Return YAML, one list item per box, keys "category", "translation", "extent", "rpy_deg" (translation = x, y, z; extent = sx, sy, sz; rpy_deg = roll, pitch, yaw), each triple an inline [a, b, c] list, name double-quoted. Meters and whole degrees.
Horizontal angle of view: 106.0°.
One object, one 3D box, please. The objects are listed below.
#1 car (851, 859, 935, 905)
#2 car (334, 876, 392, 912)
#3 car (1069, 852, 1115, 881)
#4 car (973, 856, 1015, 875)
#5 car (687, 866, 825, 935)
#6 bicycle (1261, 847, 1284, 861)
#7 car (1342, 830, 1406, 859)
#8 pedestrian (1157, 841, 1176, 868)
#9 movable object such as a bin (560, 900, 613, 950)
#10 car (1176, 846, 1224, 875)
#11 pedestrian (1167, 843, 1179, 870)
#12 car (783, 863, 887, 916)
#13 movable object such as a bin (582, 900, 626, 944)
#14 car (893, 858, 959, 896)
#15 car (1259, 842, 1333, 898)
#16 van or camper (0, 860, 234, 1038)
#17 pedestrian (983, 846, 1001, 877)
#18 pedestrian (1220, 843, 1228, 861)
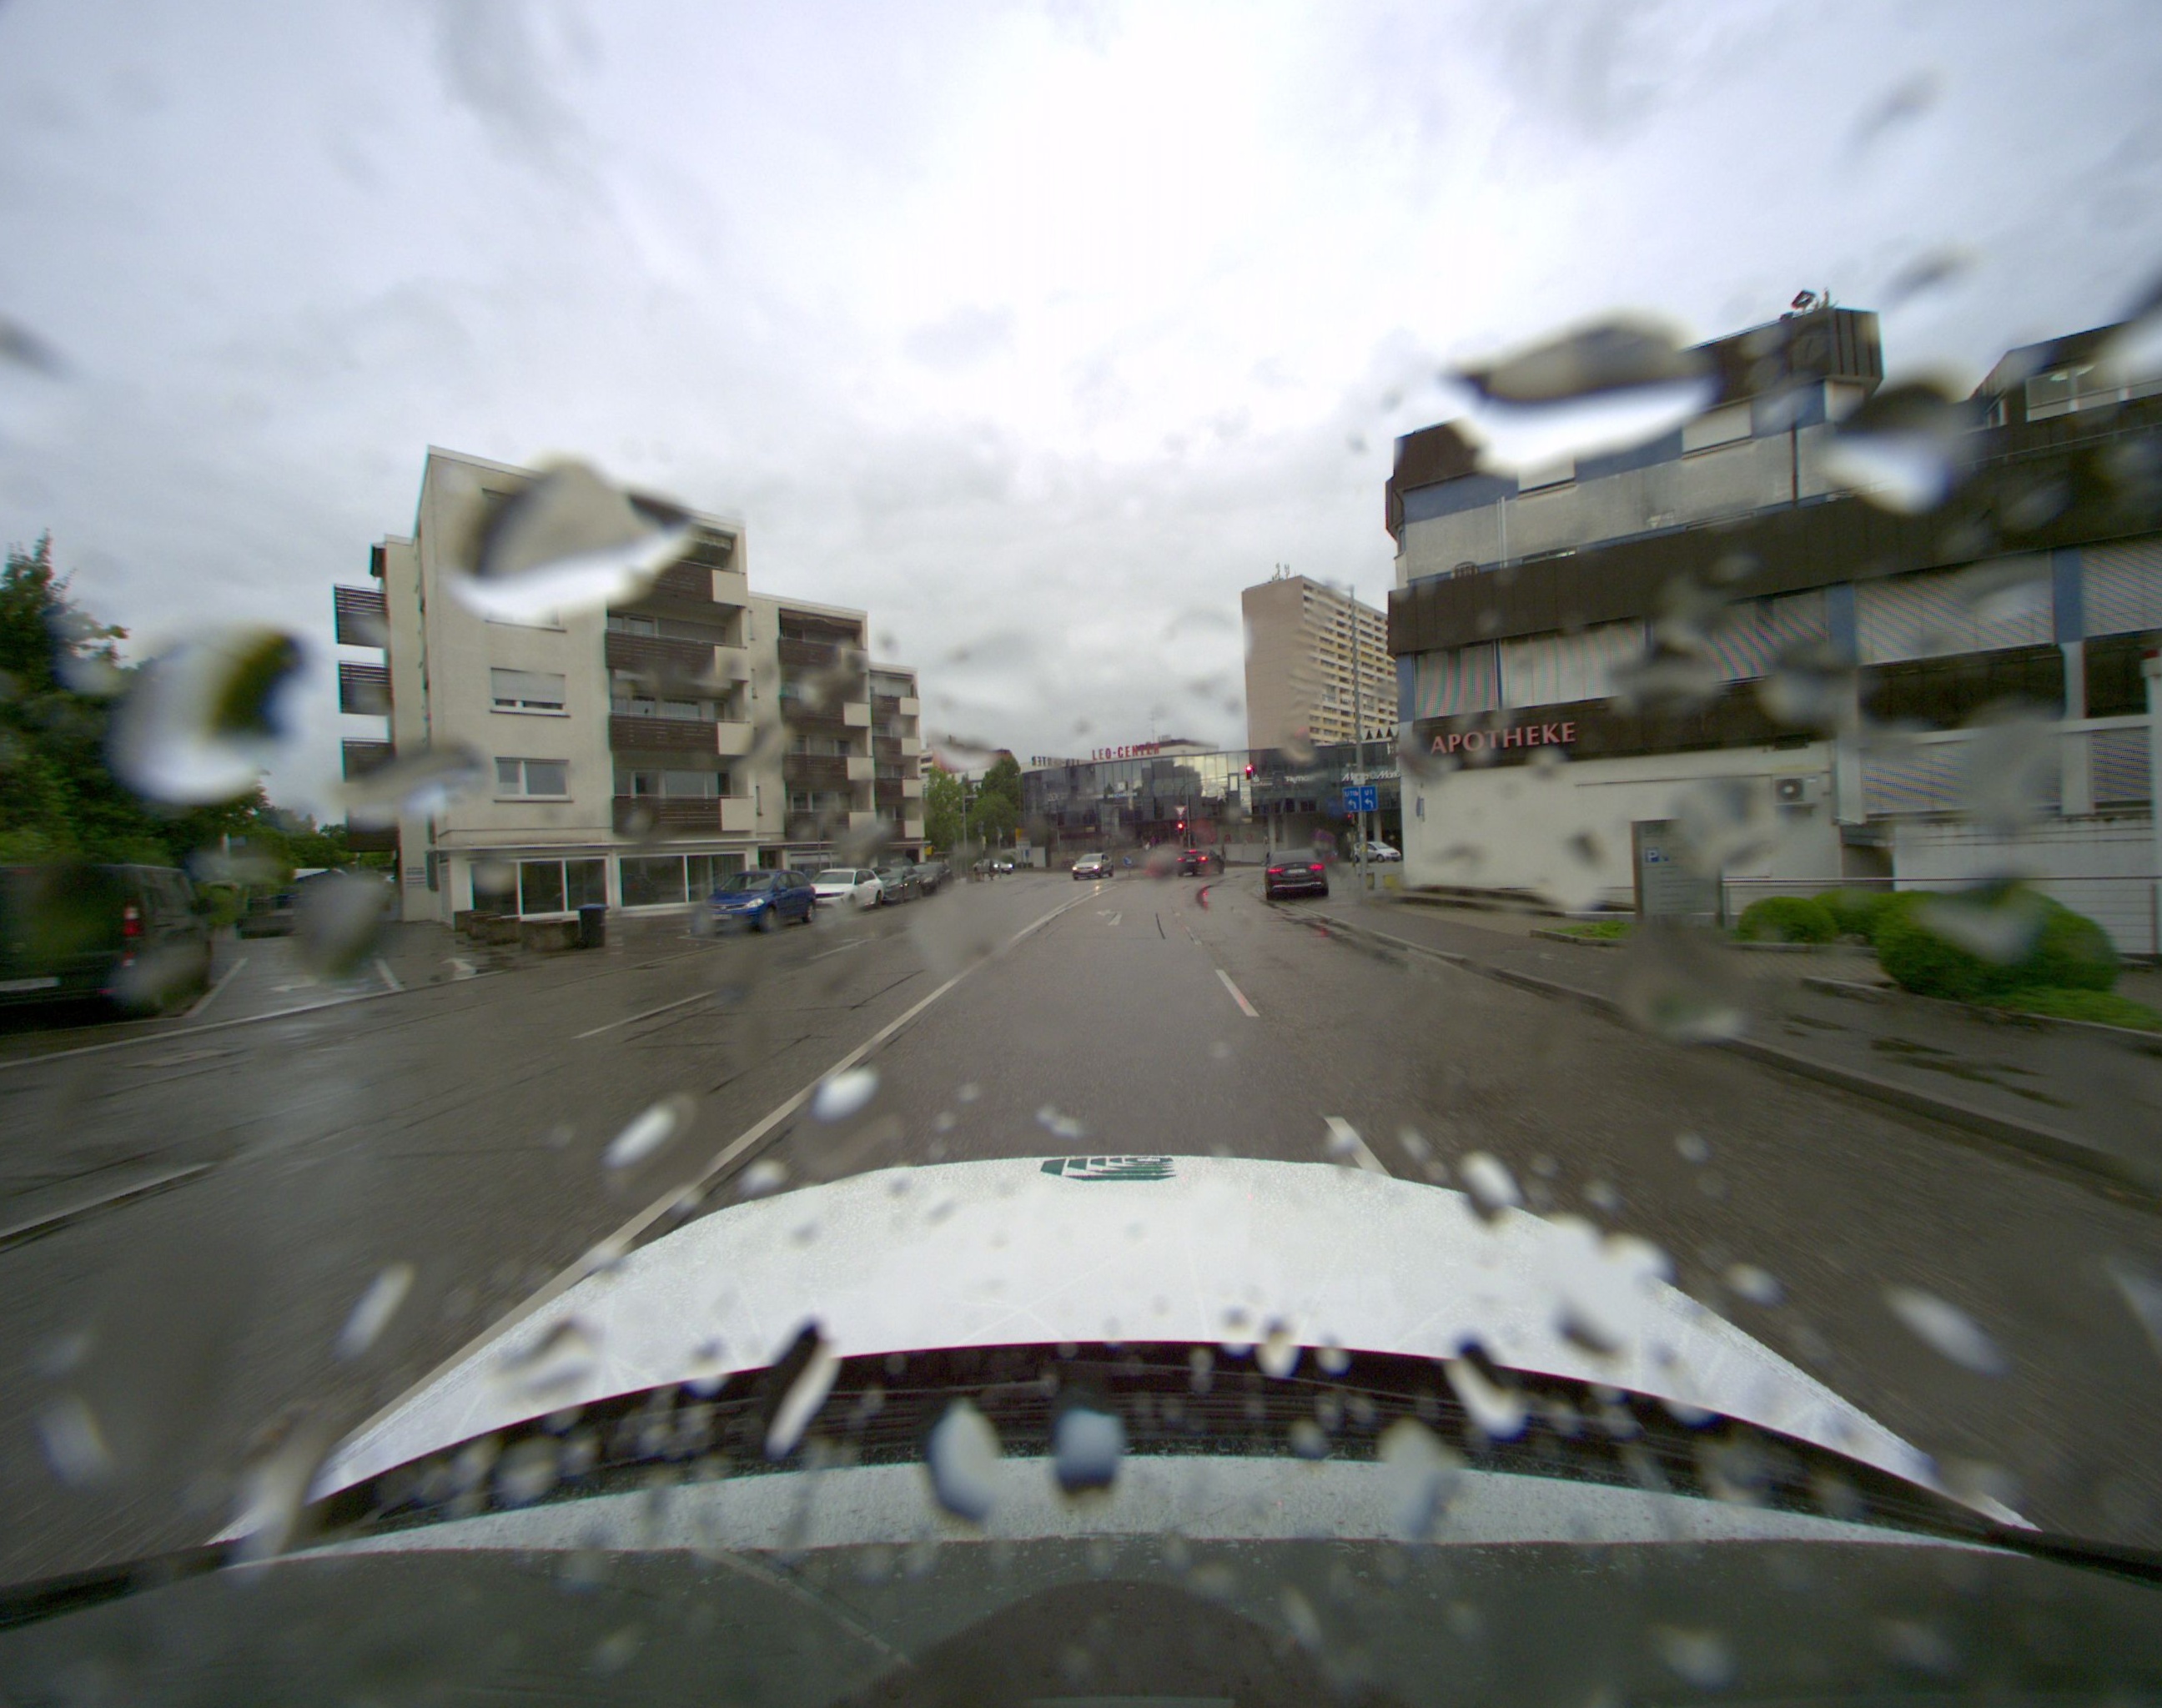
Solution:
- category: "car"
  translation: [-7.386, 1.055, 32.446]
  extent: [1.926, 1.541, 4.526]
  rpy_deg: [-2, 0, 4]
- category: "car"
  translation: [-44.587, 2.450, 50.570]
  extent: [3.948, 2.013, 2.013]
  rpy_deg: [-2, 0, 39]
- category: "car"
  translation: [0.705, 0.701, 48.568]
  extent: [1.812, 1.439, 3.856]
  rpy_deg: [-4, 1, 14]
- category: "car"
  translation: [-7.938, 1.011, 73.752]
  extent: [2.008, 1.511, 4.388]
  rpy_deg: [0, 2, -33]
- category: "car"
  translation: [-8.454, 1.145, 21.641]
  extent: [1.644, 1.521, 4.329]
  rpy_deg: [-2, 0, 4]
- category: "bicycle"
  translation: [21.568, -0.011, 91.626]
  extent: [2.414, 1.464, 0.656]
  rpy_deg: [-2, 2, 2]
- category: "car"
  translation: [21.888, -0.697, 60.933]
  extent: [2.010, 2.013, 3.953]
  rpy_deg: [-2, 0, -39]
- category: "pedestrian"
  translation: [5.406, 0.050, 51.735]
  extent: [0.913, 1.659, 0.749]
  rpy_deg: [1, 1, -24]
- category: "movable object such as a bin"
  translation: [-10.566, 1.512, 17.421]
  extent: [0.645, 0.966, 0.683]
  rpy_deg: [-3, 0, 4]
- category: "car"
  translation: [6.585, 0.333, 44.710]
  extent: [1.789, 1.419, 4.020]
  rpy_deg: [-3, 0, 20]
- category: "pedestrian"
  translation: [5.941, 0.158, 52.530]
  extent: [0.608, 1.659, 0.672]
  rpy_deg: [1, 1, -1]
- category: "car"
  translation: [-8.014, 1.096, 27.014]
  extent: [1.685, 1.464, 4.690]
  rpy_deg: [-2, 0, 4]
- category: "movable object such as a bin"
  translation: [-10.691, 1.514, 18.257]
  extent: [0.571, 0.903, 0.598]
  rpy_deg: [-3, 0, 4]
- category: "car"
  translation: [-7.175, 1.018, 38.131]
  extent: [1.926, 1.541, 4.278]
  rpy_deg: [-2, 0, 4]
- category: "car"
  translation: [6.590, 0.483, 25.152]
  extent: [1.979, 1.534, 4.664]
  rpy_deg: [-1, -1, 14]
- category: "van or camper"
  translation: [-13.666, 1.115, 11.340]
  extent: [2.011, 1.924, 5.156]
  rpy_deg: [-4, 2, -41]
- category: "pedestrian"
  translation: [-5.791, 0.497, 53.030]
  extent: [0.741, 2.013, 0.926]
  rpy_deg: [2, 0, 25]
- category: "pedestrian"
  translation: [16.290, -0.237, 92.592]
  extent: [0.782, 2.013, 0.673]
  rpy_deg: [-3, 0, 14]
